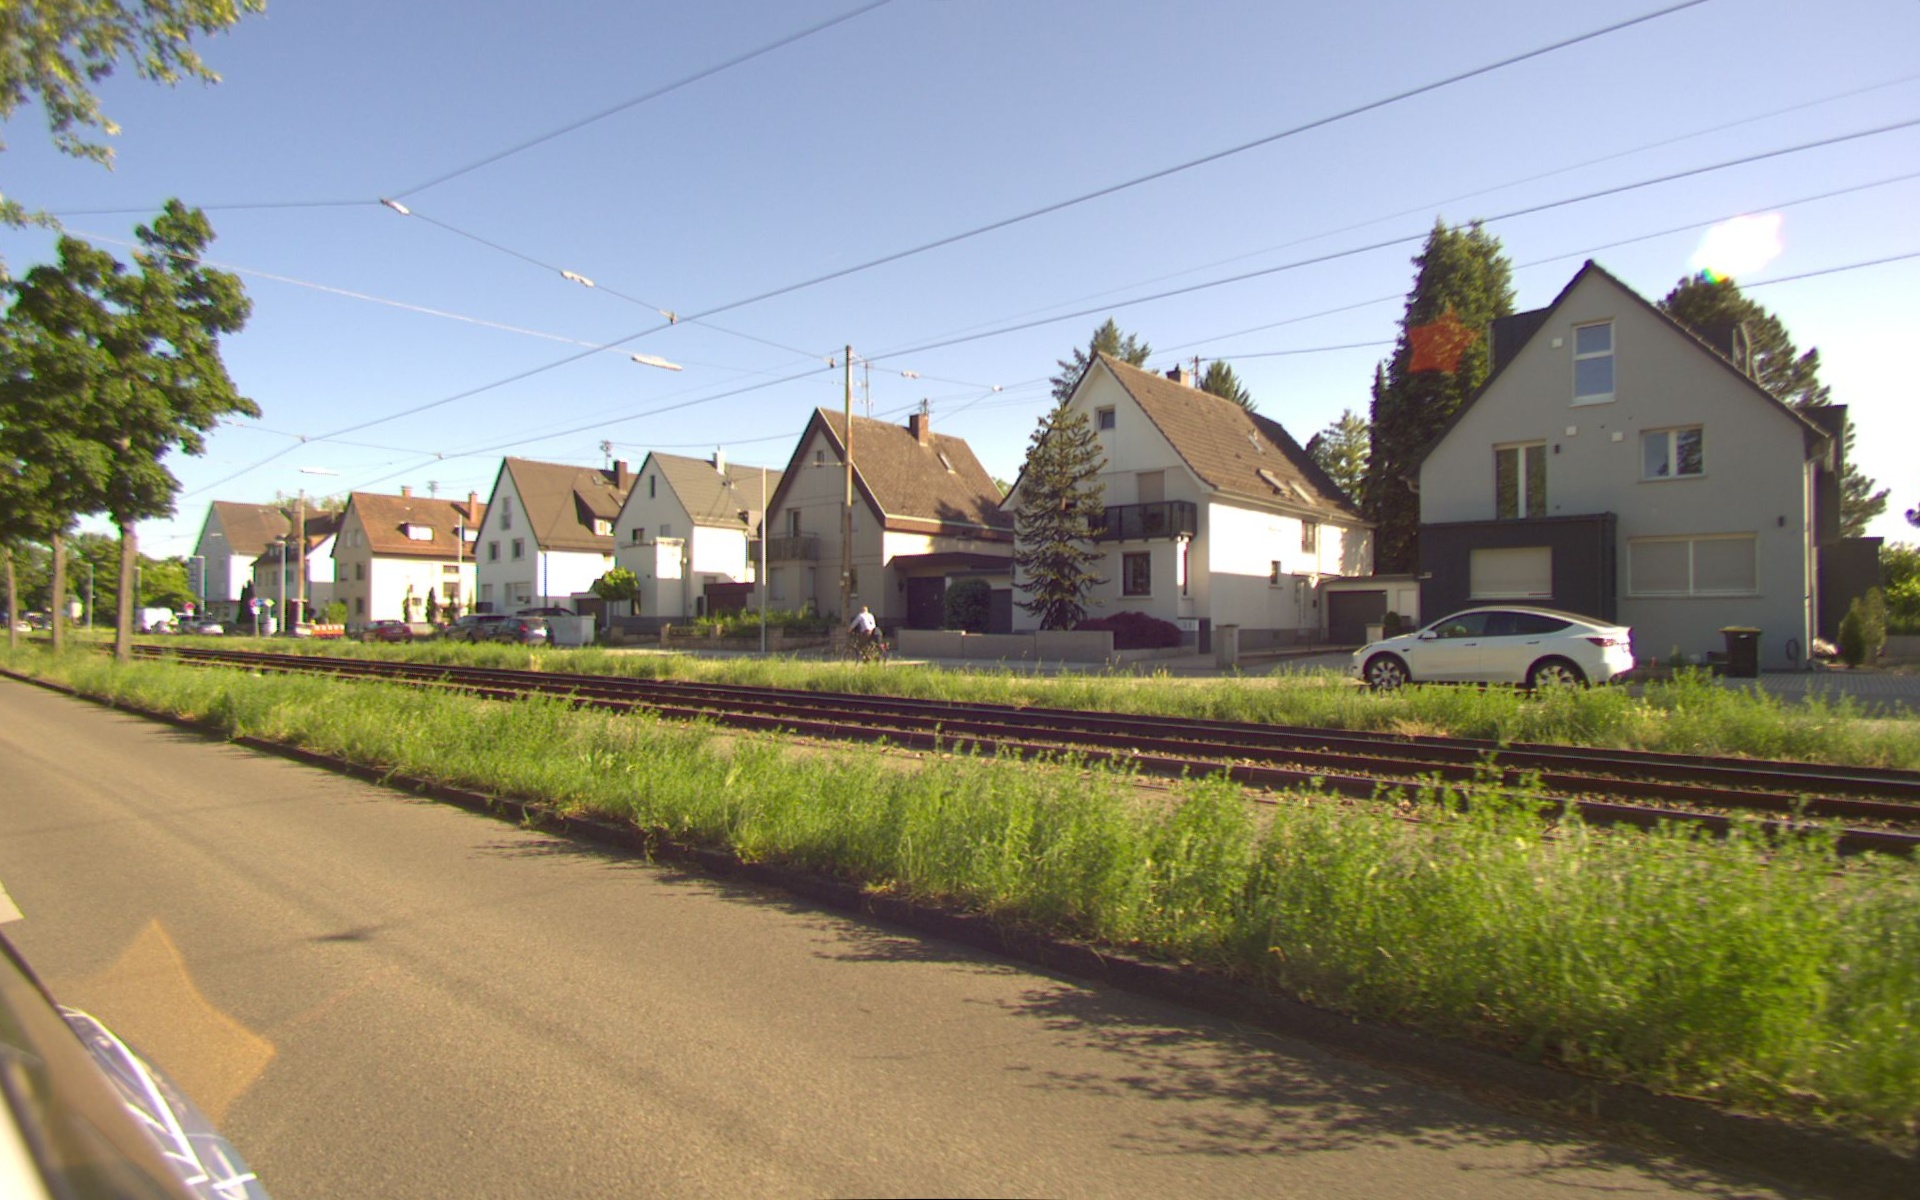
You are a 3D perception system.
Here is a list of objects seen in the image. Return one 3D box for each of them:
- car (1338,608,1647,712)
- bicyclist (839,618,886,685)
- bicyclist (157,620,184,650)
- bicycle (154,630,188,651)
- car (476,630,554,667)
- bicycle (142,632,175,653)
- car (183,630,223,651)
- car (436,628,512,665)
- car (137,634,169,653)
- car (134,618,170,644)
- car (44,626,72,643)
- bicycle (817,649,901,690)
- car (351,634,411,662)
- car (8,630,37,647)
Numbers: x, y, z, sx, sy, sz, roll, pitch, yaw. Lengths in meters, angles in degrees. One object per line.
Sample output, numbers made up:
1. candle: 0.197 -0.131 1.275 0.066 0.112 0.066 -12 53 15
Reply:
1. car: 9.919 1.045 19.105 4.837 1.691 1.973 -1 0 41
2. bicyclist: -2.546 1.336 26.414 0.836 1.687 0.843 -1 0 38
3. bicyclist: -60.623 2.692 77.696 1.622 2.250 1.293 -1 0 41
4. bicycle: -60.647 3.068 77.740 3.998 1.506 1.336 -1 0 41
5. car: -19.616 2.084 44.574 3.754 1.501 1.716 -1 0 41
6. bicycle: -63.899 3.341 80.654 3.998 1.589 1.336 -1 0 41
7. car: -60.218 3.218 80.449 3.998 1.517 1.768 -1 0 42
8. car: -22.779 2.139 47.410 4.010 1.609 1.779 -1 0 41
9. car: -71.124 3.807 89.181 4.001 1.517 1.767 -1 0 44
10. car: -74.318 2.854 93.087 4.001 2.239 2.104 -1 0 44
11. car: -111.838 4.228 125.496 3.997 2.050 2.106 -1 0 41
12. bicycle: -2.659 1.796 26.498 2.308 0.958 0.843 -1 0 41
13. car: -31.910 2.621 55.721 3.822 1.392 1.733 -1 0 41
14. car: -114.012 4.660 123.029 3.997 2.050 2.106 -1 0 41
